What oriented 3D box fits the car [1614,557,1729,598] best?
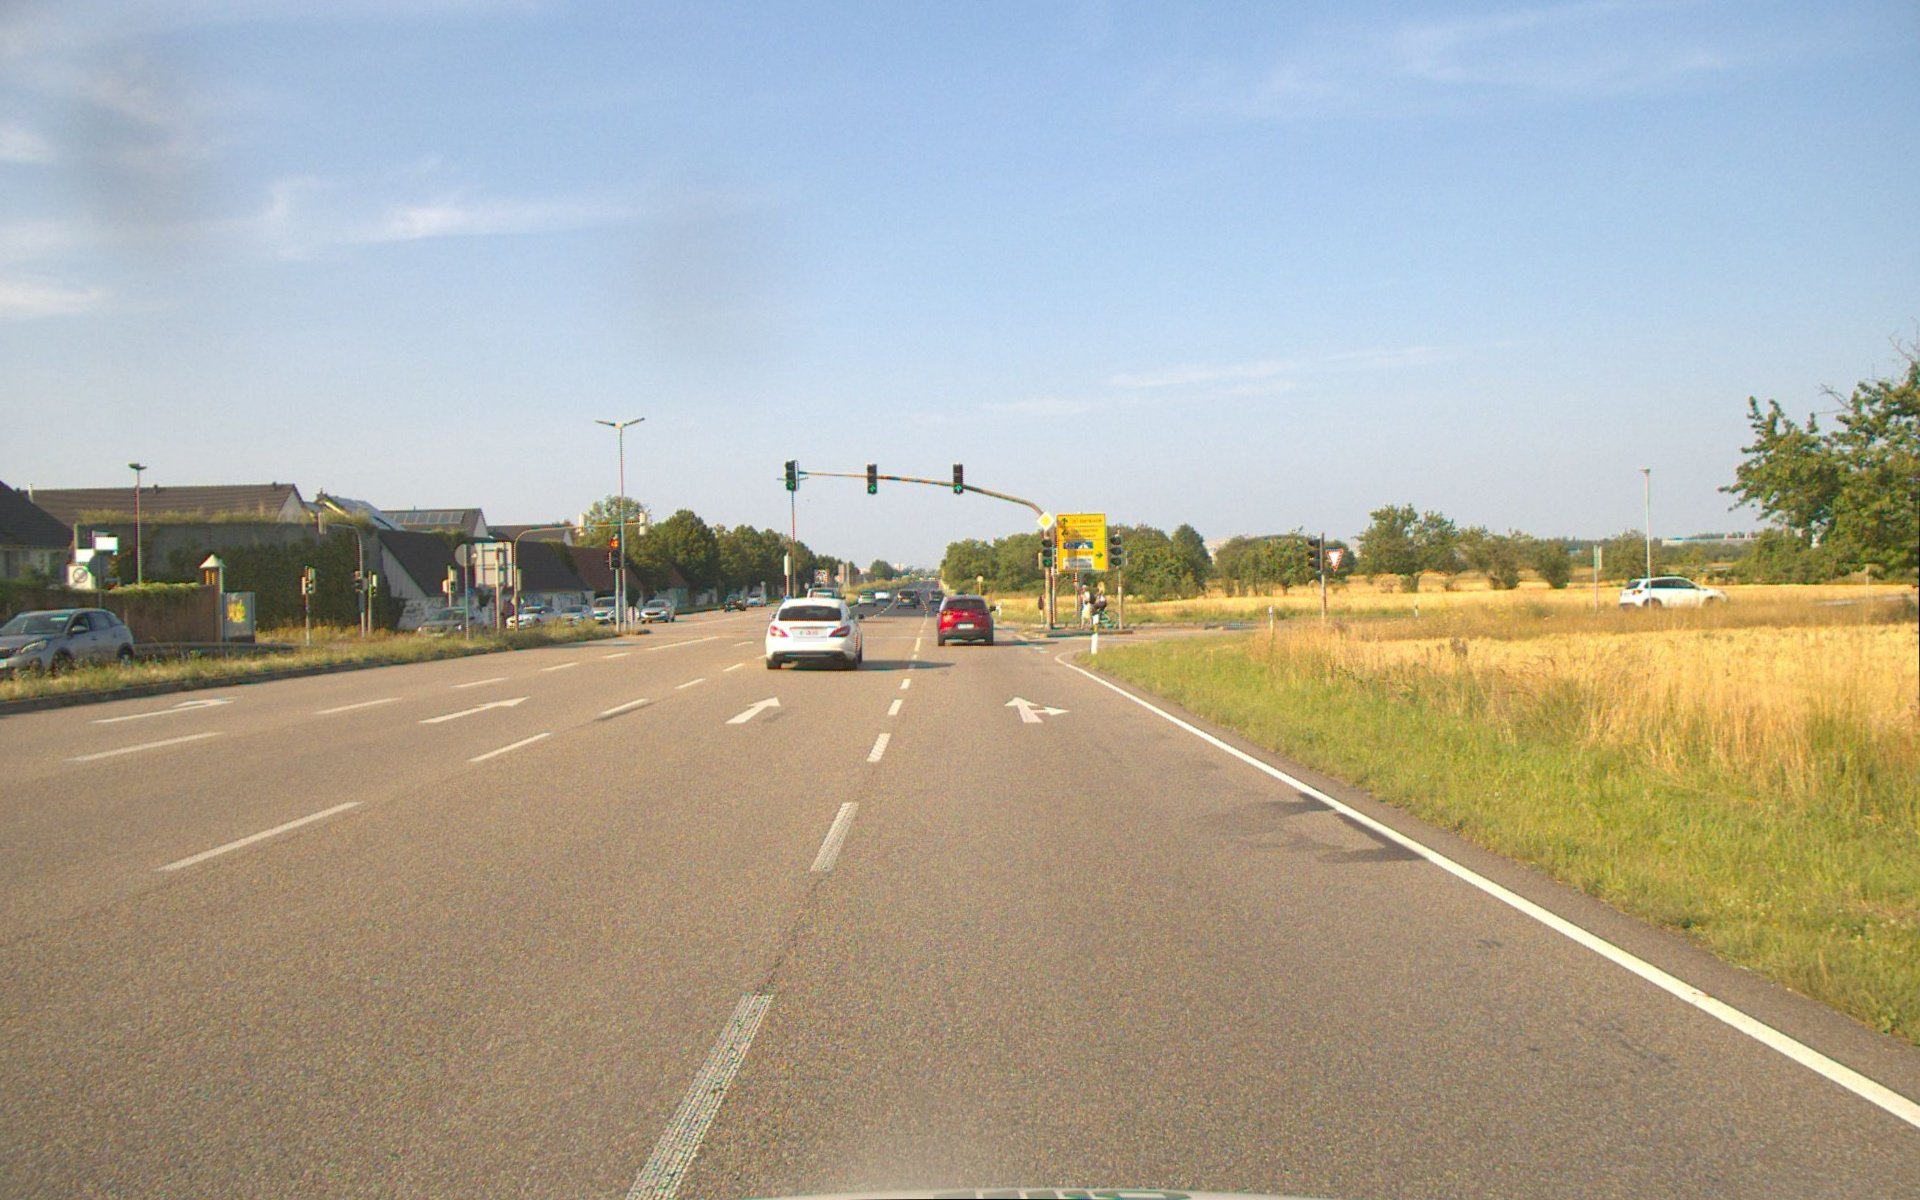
[{"bbox_3d":[28.856,-0.906,67.169,3.903,1.626,1.862,0,0,3],"label":"car"}]

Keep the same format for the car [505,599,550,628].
[{"bbox_3d":[-25.616,0.759,98.101,1.852,1.646,3.853,0,1,-4],"label":"car"}]

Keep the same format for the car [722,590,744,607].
[{"bbox_3d":[-21.585,-0.133,157.445,1.787,1.534,3.794,0,1,-4],"label":"car"}]

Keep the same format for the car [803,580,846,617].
[{"bbox_3d":[-7.456,-0.091,91.336,1.984,1.924,4.959,0,1,0],"label":"car"}]

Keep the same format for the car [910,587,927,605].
[{"bbox_3d":[-4.163,-0.434,167.714,1.676,1.766,3.867,0,1,-1],"label":"car"}]

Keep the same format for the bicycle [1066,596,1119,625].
[{"bbox_3d":[5.188,0.399,64.845,2.052,1.108,0.808,0,0,3],"label":"bicycle"}]

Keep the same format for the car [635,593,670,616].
[{"bbox_3d":[-20.368,0.299,109.700,1.748,1.462,4.354,0,1,-4],"label":"car"}]

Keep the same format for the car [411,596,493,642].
[{"bbox_3d":[-19.507,0.696,63.742,1.687,1.657,4.658,0,1,1],"label":"car"}]

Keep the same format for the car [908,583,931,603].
[{"bbox_3d":[-3.568,-0.648,145.638,1.801,1.713,4.001,0,1,2],"label":"car"}]

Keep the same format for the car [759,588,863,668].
[{"bbox_3d":[-3.056,0.539,34.575,1.856,1.535,3.999,0,1,-1],"label":"car"}]

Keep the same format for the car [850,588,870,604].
[{"bbox_3d":[-9.535,-0.373,158.118,1.682,1.518,3.584,0,1,0],"label":"car"}]

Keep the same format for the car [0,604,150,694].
[{"bbox_3d":[-19.176,0.975,34.964,1.937,1.694,4.589,0,1,-2],"label":"car"}]

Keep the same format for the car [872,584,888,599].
[{"bbox_3d":[-9.270,-1.032,191.117,1.741,1.694,3.660,0,1,-4],"label":"car"}]

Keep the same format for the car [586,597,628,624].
[{"bbox_3d":[-23.936,0.698,112.306,1.956,1.716,4.574,0,1,-1],"label":"car"}]

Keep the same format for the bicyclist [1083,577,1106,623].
[{"bbox_3d":[5.276,-0.015,64.825,0.830,1.786,0.799,0,0,0],"label":"bicyclist"}]

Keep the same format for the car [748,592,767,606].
[{"bbox_3d":[-23.043,-0.115,188.140,1.954,1.523,3.997,0,1,-4],"label":"car"}]

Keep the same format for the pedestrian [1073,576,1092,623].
[{"bbox_3d":[4.658,-0.033,62.997,0.695,1.782,0.863,0,0,1],"label":"pedestrian"}]

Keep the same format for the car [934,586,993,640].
[{"bbox_3d":[0.101,0.371,51.428,1.718,1.543,4.000,-1,1,0],"label":"car"}]

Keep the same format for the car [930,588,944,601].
[{"bbox_3d":[-2.427,-0.600,174.986,1.410,1.306,2.914,0,1,0],"label":"car"}]
